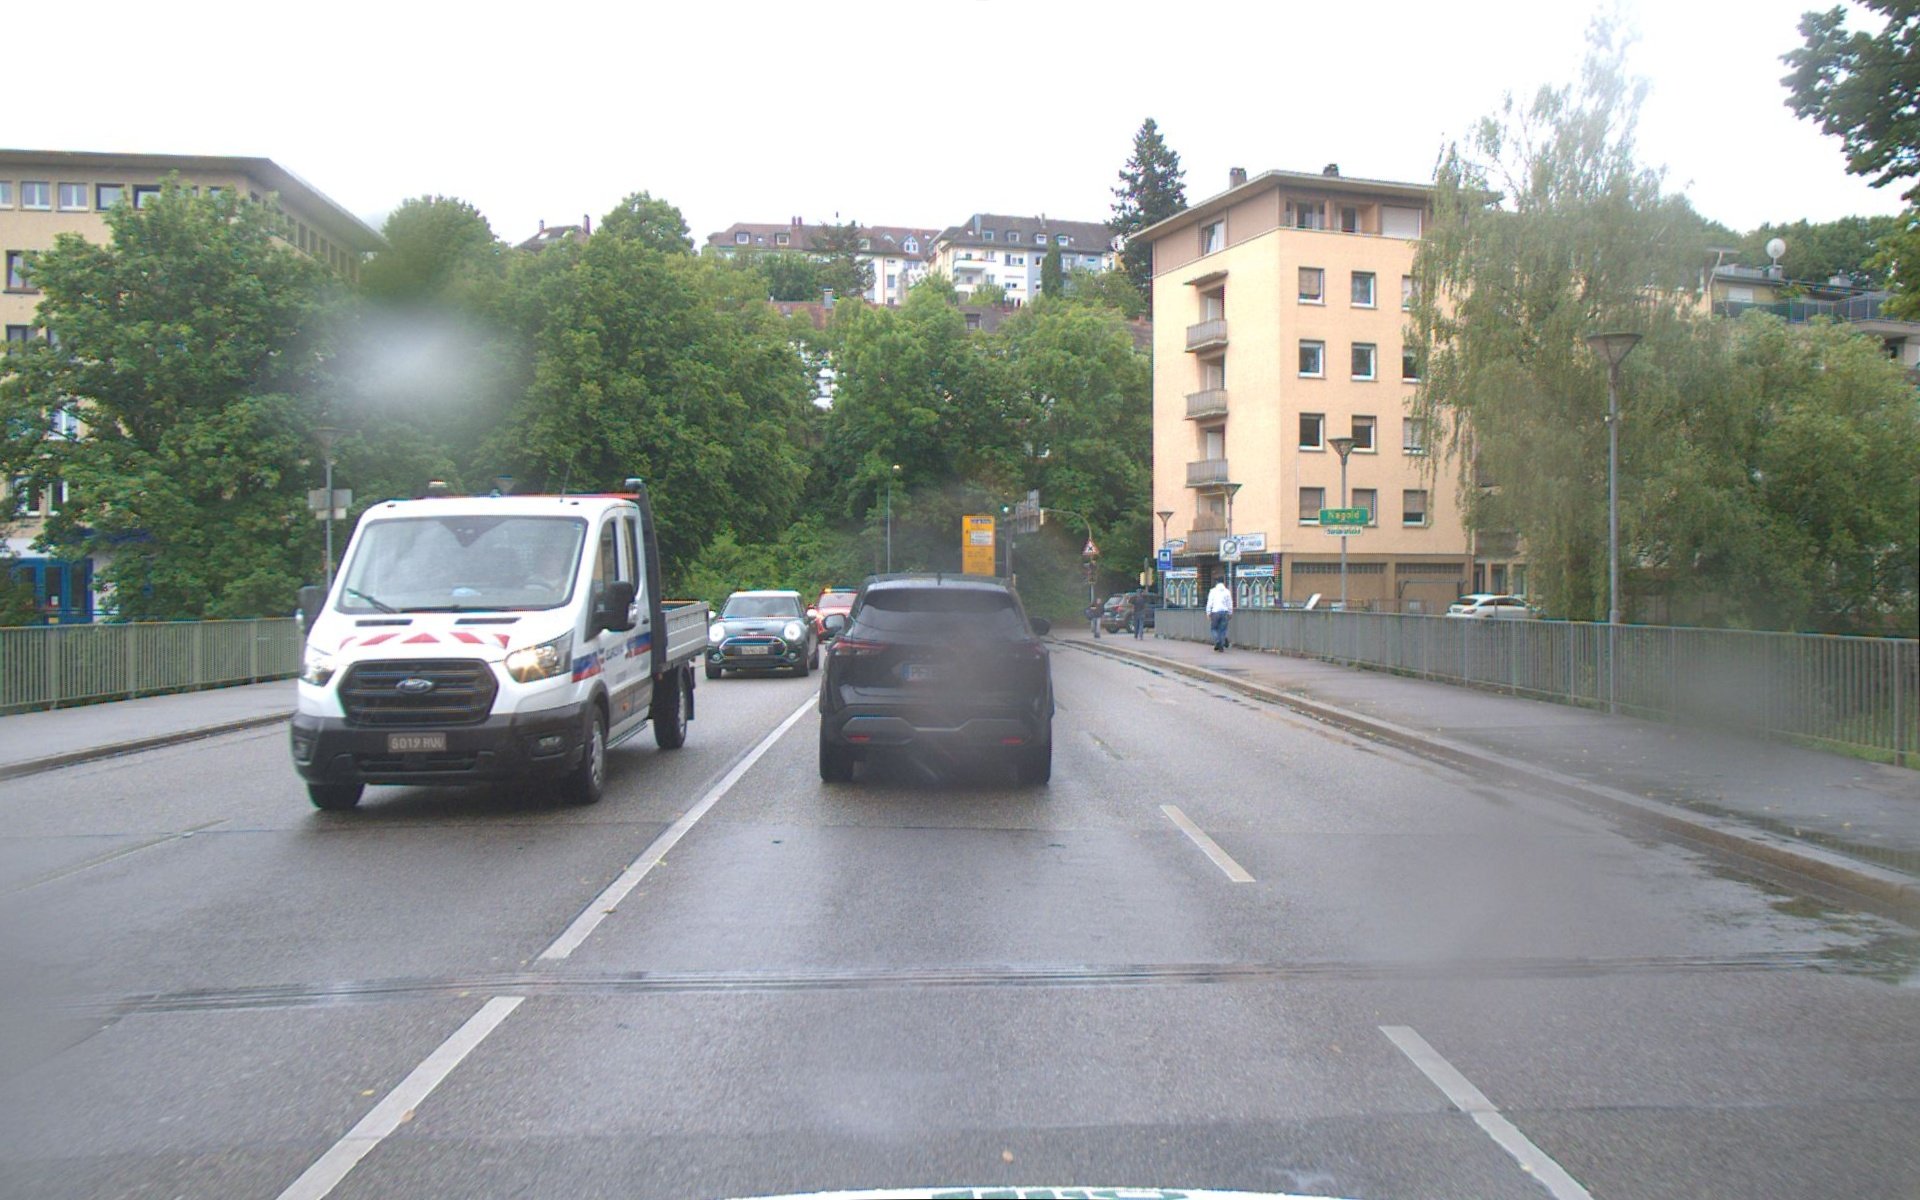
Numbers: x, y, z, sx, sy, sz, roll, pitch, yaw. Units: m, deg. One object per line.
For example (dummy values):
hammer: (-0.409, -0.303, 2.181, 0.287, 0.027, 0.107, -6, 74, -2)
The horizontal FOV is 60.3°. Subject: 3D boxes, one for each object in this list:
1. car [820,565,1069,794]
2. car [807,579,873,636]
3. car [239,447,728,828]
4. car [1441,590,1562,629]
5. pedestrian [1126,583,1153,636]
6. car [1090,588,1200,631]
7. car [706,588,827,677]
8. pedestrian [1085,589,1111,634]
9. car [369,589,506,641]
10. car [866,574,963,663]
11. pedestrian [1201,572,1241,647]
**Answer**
car: (-0.144, 0.557, 13.982, 1.774, 1.631, 3.999, 1, 0, -1)
car: (-3.927, 0.218, 54.745, 1.850, 1.765, 4.370, -1, 0, -1)
car: (-3.459, 0.184, 13.708, 2.243, 2.349, 6.508, -1, 1, -1)
car: (21.566, 0.362, 65.908, 4.369, 1.400, 1.808, -1, 2, -18)
pedestrian: (5.996, 0.311, 55.178, 0.745, 1.706, 0.781, -2, 0, -1)
car: (7.890, 0.403, 70.519, 4.315, 1.678, 1.867, -2, 0, -27)
car: (-3.395, 0.536, 29.609, 1.710, 1.464, 3.999, -1, 0, -1)
pedestrian: (5.181, 0.432, 62.072, 0.845, 1.647, 0.839, -1, 0, -1)
car: (-19.595, 0.549, 62.239, 4.655, 1.886, 1.996, 0, 2, -10)
car: (-0.876, 0.324, 32.845, 1.774, 1.631, 3.999, 1, 0, -1)
pedestrian: (6.328, 0.233, 40.152, 0.764, 1.783, 1.060, 0, 0, -1)
